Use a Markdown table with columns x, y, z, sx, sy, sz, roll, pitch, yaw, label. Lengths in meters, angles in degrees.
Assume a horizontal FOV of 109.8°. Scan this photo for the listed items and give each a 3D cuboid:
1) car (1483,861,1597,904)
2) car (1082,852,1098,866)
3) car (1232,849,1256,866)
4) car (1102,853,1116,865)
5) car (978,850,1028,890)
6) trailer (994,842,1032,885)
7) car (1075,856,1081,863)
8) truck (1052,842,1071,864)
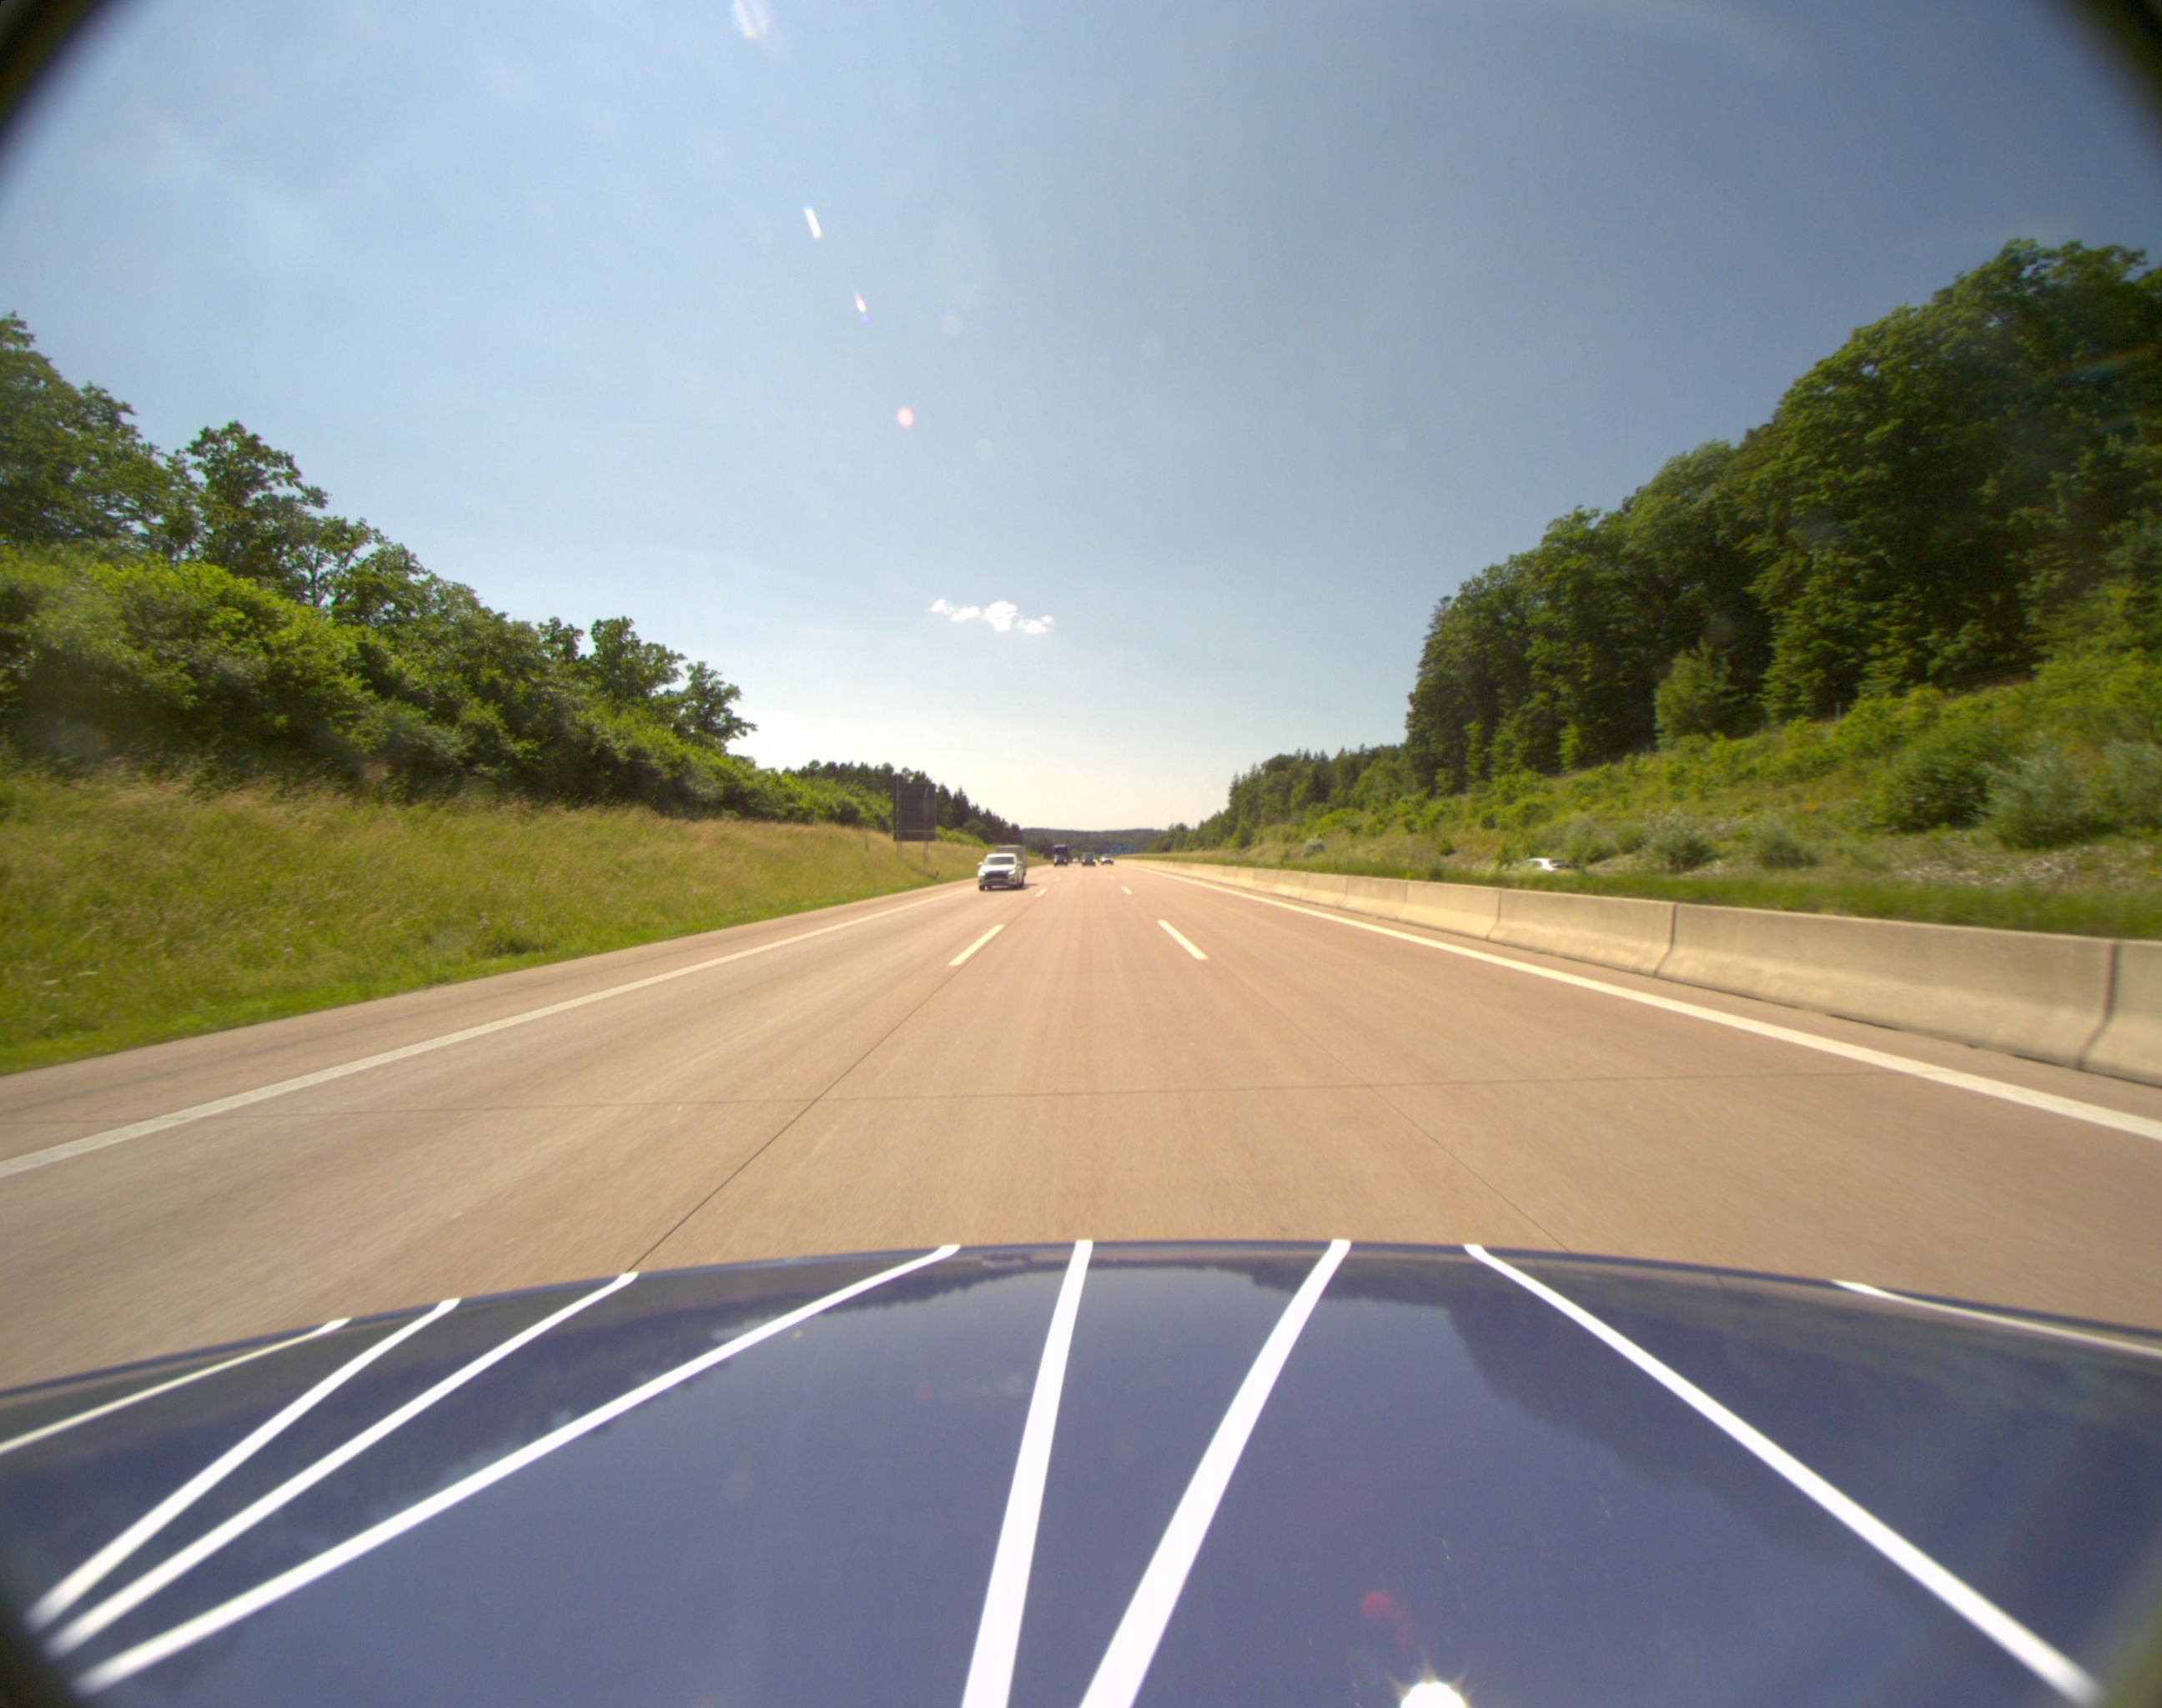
| x | y | z | sx | sy | sz | roll | pitch | yaw | label |
| --- | --- | --- | --- | --- | --- | --- | --- | --- | --- |
| 19.357 | 1.133 | 32.344 | 1.896 | 1.642 | 4.663 | -2 | -1 | -1 | car |
| 1.235 | 0.656 | 105.375 | 1.998 | 1.805 | 4.565 | -2 | 0 | 3 | car |
| 20.886 | 0.441 | 97.668 | 1.896 | 2.052 | 4.663 | -2 | -1 | -1 | car |
| 4.324 | 0.727 | 116.920 | 1.895 | 1.718 | 4.564 | -2 | -1 | 0 | car |
| -3.696 | 0.715 | 36.680 | 1.896 | 1.718 | 5.185 | -2 | 0 | -1 | car |
| -3.647 | 0.492 | 41.254 | 1.662 | 2.151 | 4.016 | -2 | 0 | 0 | trailer |
| -0.958 | 1.857 | 249.816 | 1.998 | 2.002 | 4.000 | -2 | 0 | 0 | car |
| -2.935 | -0.176 | 116.529 | 2.508 | 3.199 | 7.786 | -2 | 0 | 2 | truck |
